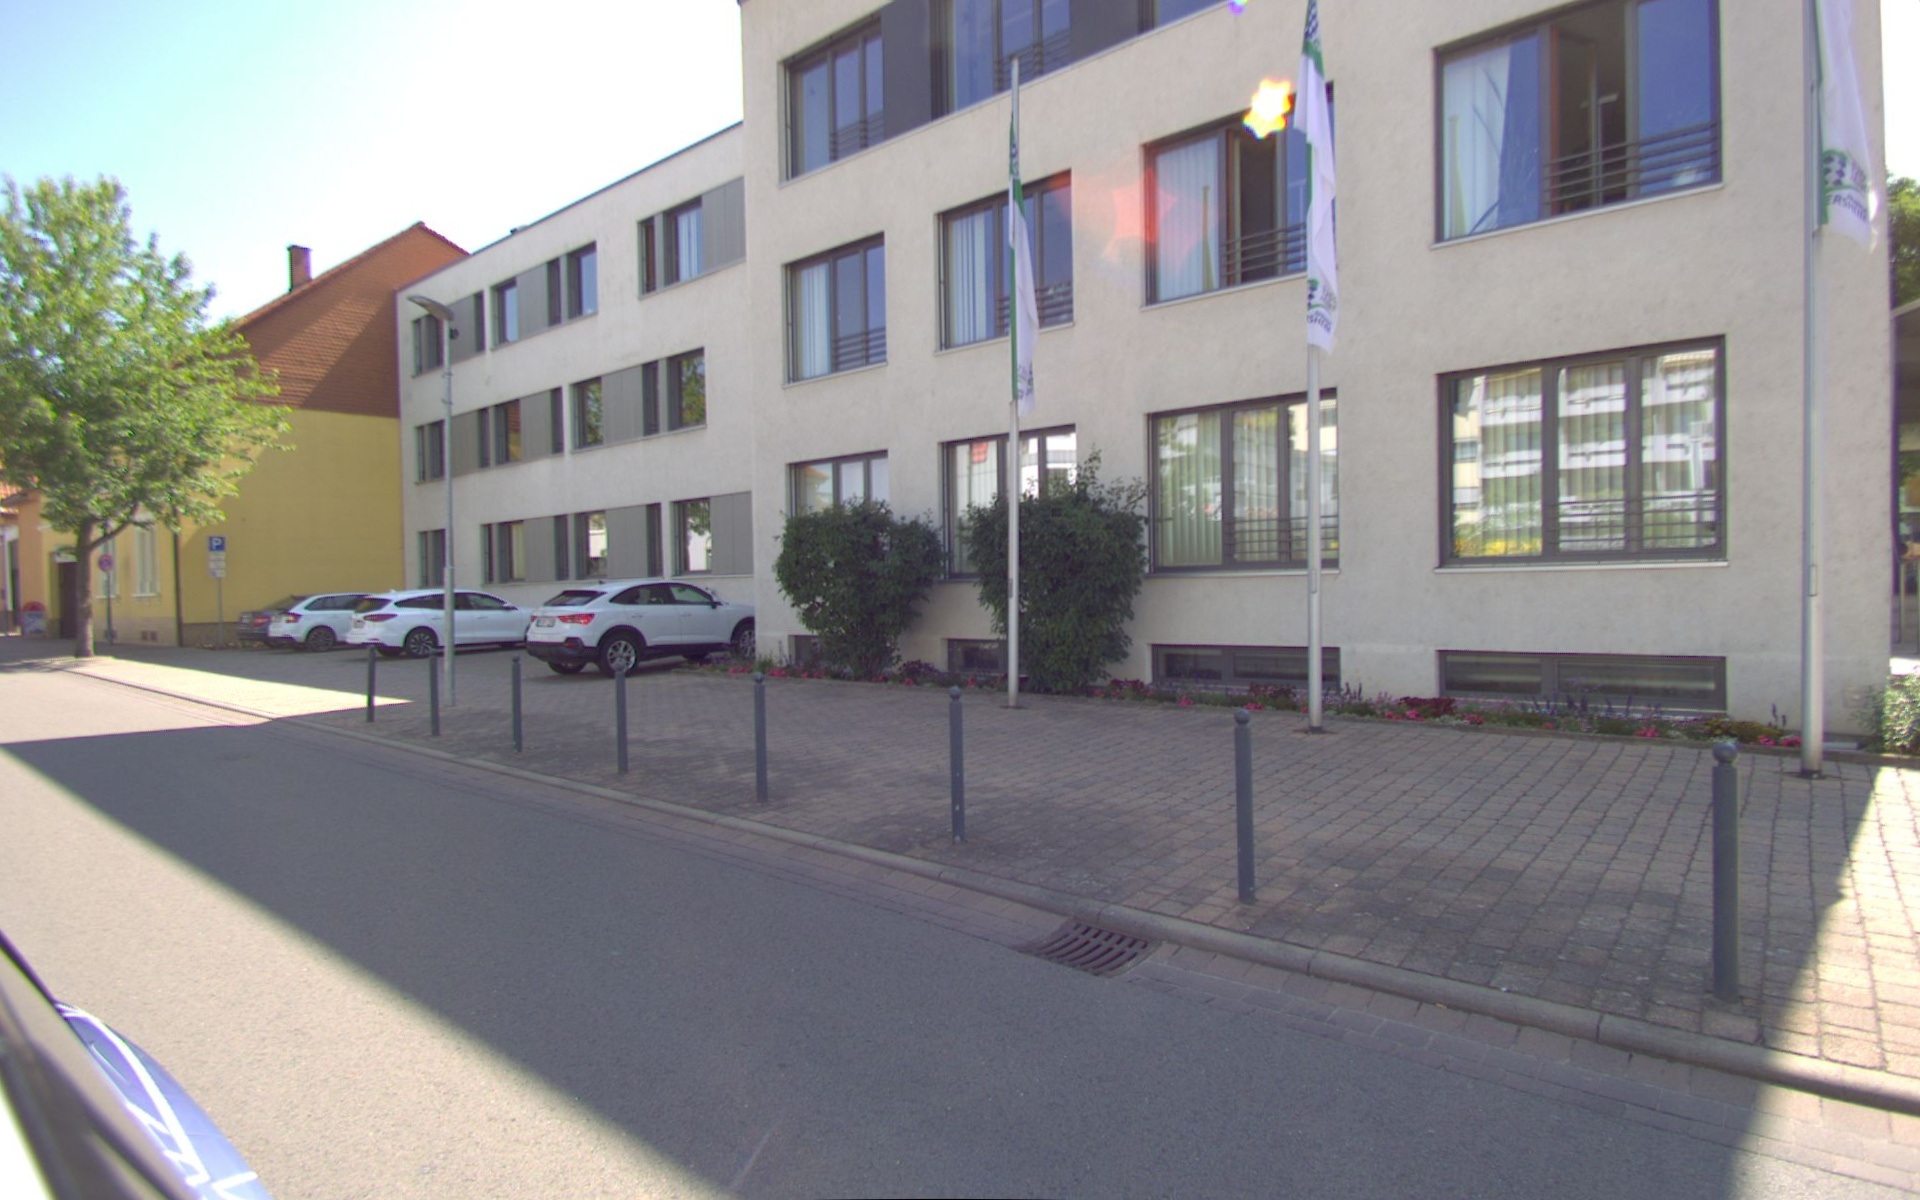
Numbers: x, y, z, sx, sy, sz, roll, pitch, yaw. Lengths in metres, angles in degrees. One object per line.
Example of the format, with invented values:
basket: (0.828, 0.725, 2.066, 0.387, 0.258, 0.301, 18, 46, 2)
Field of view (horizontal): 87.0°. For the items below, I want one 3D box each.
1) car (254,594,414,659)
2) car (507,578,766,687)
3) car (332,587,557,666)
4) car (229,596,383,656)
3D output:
car: (-15.967, 0.630, 25.898, 1.642, 1.461, 3.099, -1, 2, 41)
car: (-5.463, 0.471, 17.496, 1.747, 1.559, 3.949, -1, 2, 38)
car: (-11.604, 0.534, 23.030, 1.512, 1.490, 4.270, 0, 2, 40)
car: (-17.620, 0.666, 27.364, 1.373, 1.412, 3.218, -1, 2, 38)
